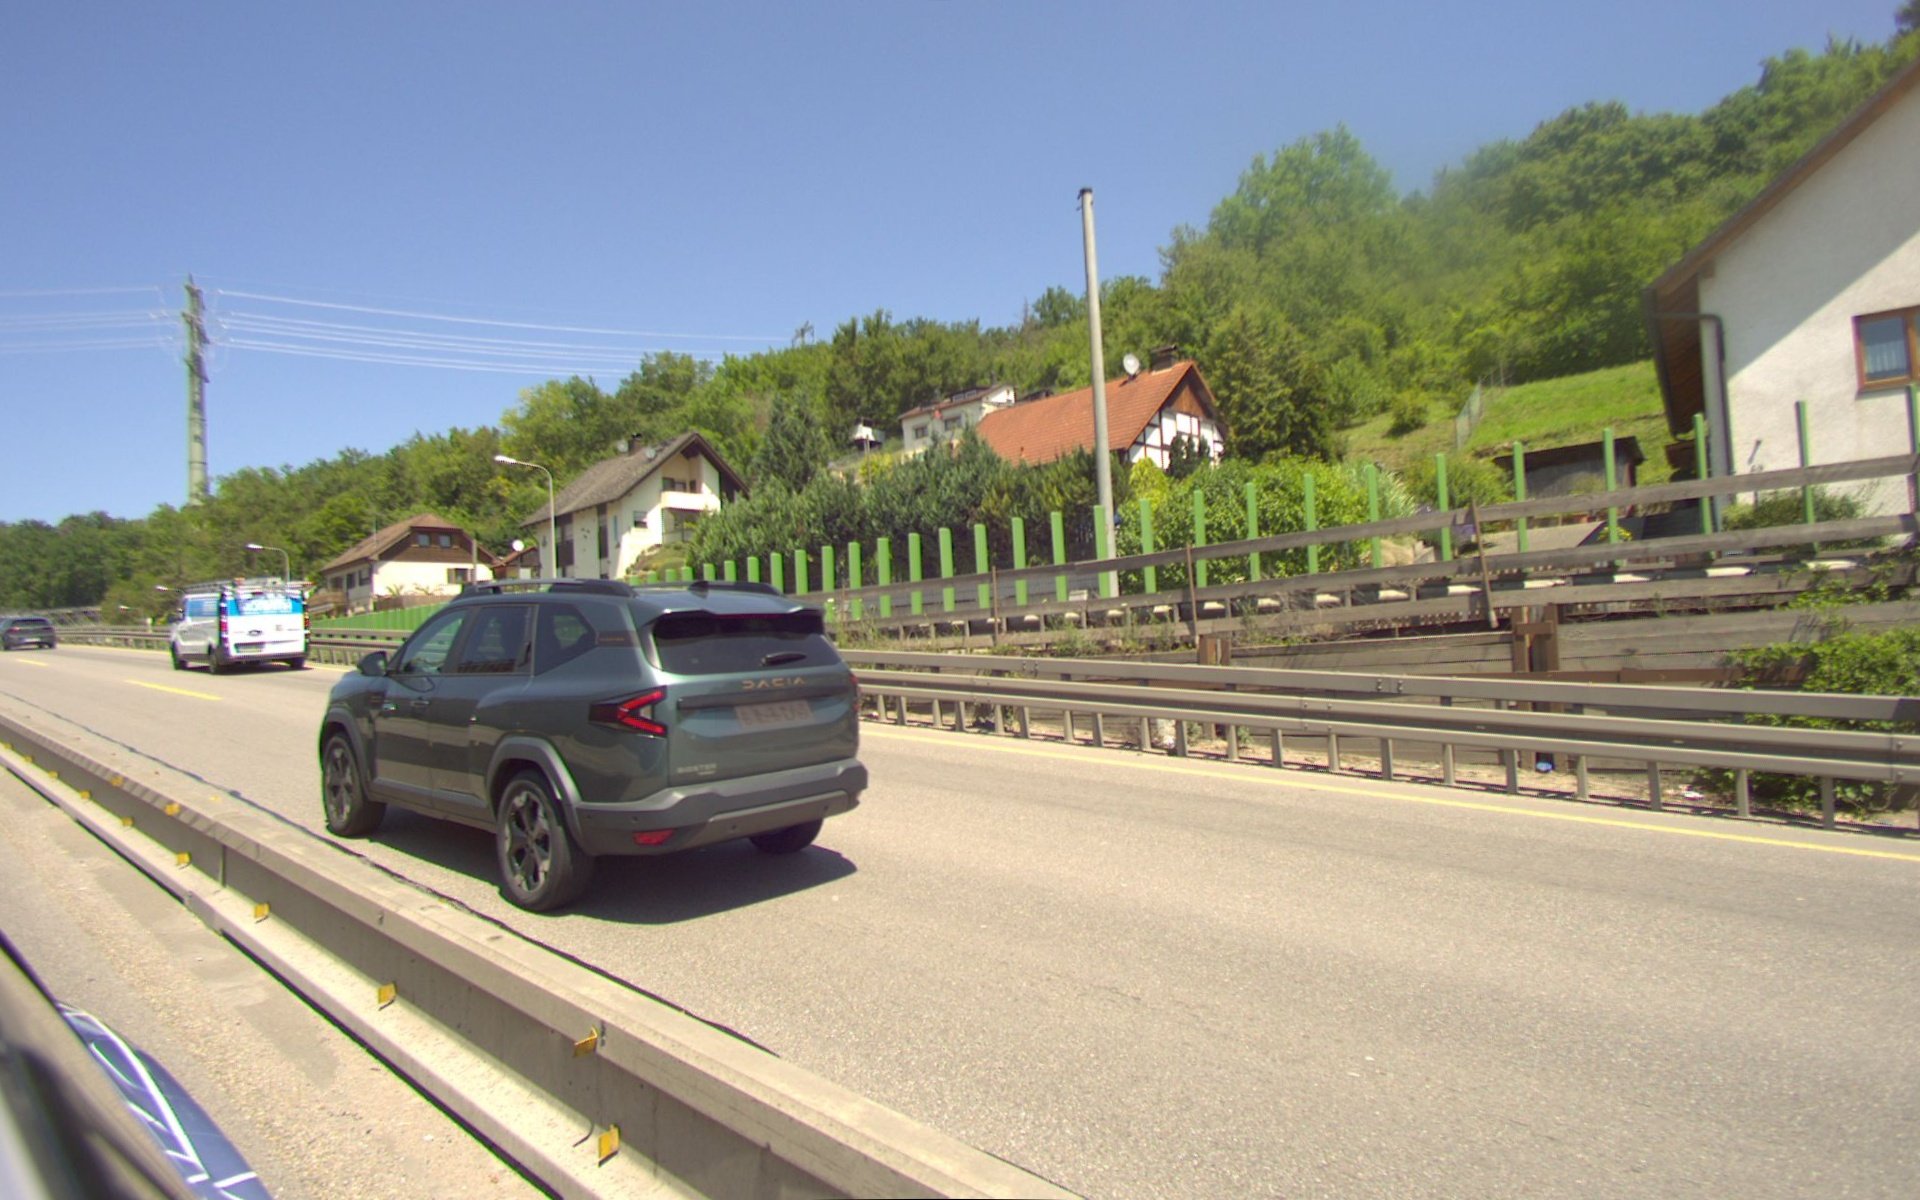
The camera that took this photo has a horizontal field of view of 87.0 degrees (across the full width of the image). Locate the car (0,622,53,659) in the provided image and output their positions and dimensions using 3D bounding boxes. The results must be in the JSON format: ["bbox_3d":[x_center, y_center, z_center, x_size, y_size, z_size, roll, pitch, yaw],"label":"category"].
[{"bbox_3d":[-41.062,1.722,44.143,4.051,1.453,1.731,-1,1,41],"label":"car"}]

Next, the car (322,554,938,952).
[{"bbox_3d":[-2.241,0.671,6.215,4.098,1.646,1.756,-2,-1,41],"label":"car"}]

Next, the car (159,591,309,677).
[{"bbox_3d":[-18.210,0.815,25.272,5.239,1.940,1.806,-2,-1,40],"label":"car"}]
